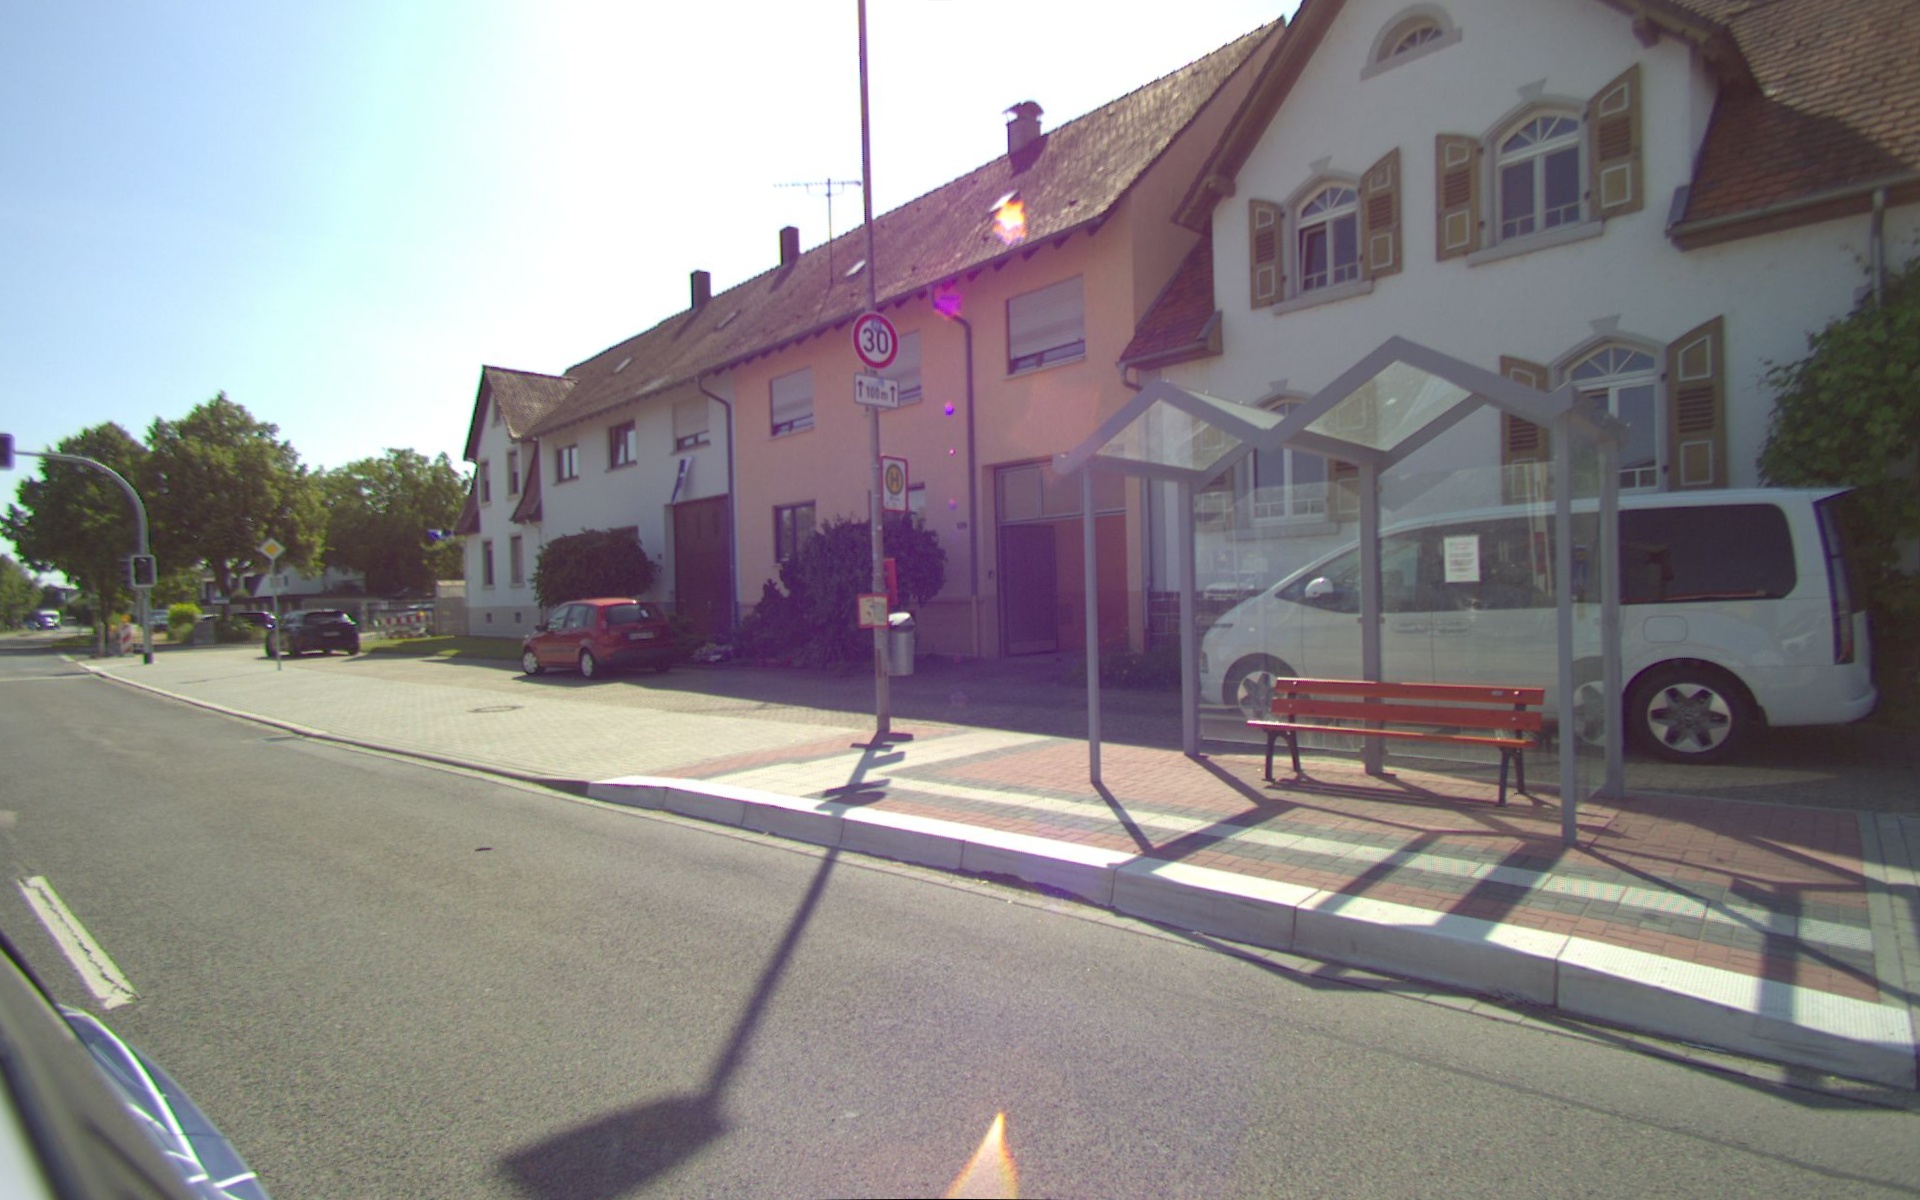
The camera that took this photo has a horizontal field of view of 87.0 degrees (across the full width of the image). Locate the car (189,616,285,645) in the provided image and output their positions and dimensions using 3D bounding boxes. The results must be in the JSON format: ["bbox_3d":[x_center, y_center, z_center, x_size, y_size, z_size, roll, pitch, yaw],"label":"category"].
[{"bbox_3d":[-40.819,1.689,57.238,3.933,1.516,2.005,-1,0,-13],"label":"car"}]

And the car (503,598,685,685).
[{"bbox_3d":[-7.184,0.797,19.663,3.915,1.464,1.696,-3,0,43],"label":"car"}]

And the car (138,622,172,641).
[{"bbox_3d":[-68.891,2.656,86.560,1.970,1.516,4.004,-1,-1,-43],"label":"car"}]

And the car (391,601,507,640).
[{"bbox_3d":[-29.060,1.135,57.724,2.000,2.060,5.550,-2,-1,42],"label":"car"}]

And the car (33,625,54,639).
[{"bbox_3d":[-111.697,3.844,123.399,1.819,1.604,4.111,-1,0,-42],"label":"car"}]

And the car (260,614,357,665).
[{"bbox_3d":[-20.508,1.186,31.774,1.695,1.418,4.401,0,0,-45],"label":"car"}]

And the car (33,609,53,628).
[{"bbox_3d":[-121.980,2.461,134.698,1.910,2.521,5.845,-1,0,-42],"label":"car"}]

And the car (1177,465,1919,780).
[{"bbox_3d":[4.800,0.139,8.977,5.263,2.001,2.104,-1,1,41],"label":"car"}]

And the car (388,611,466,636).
[{"bbox_3d":[-33.906,1.485,64.434,2.000,1.516,3.943,-2,-1,43],"label":"car"}]
